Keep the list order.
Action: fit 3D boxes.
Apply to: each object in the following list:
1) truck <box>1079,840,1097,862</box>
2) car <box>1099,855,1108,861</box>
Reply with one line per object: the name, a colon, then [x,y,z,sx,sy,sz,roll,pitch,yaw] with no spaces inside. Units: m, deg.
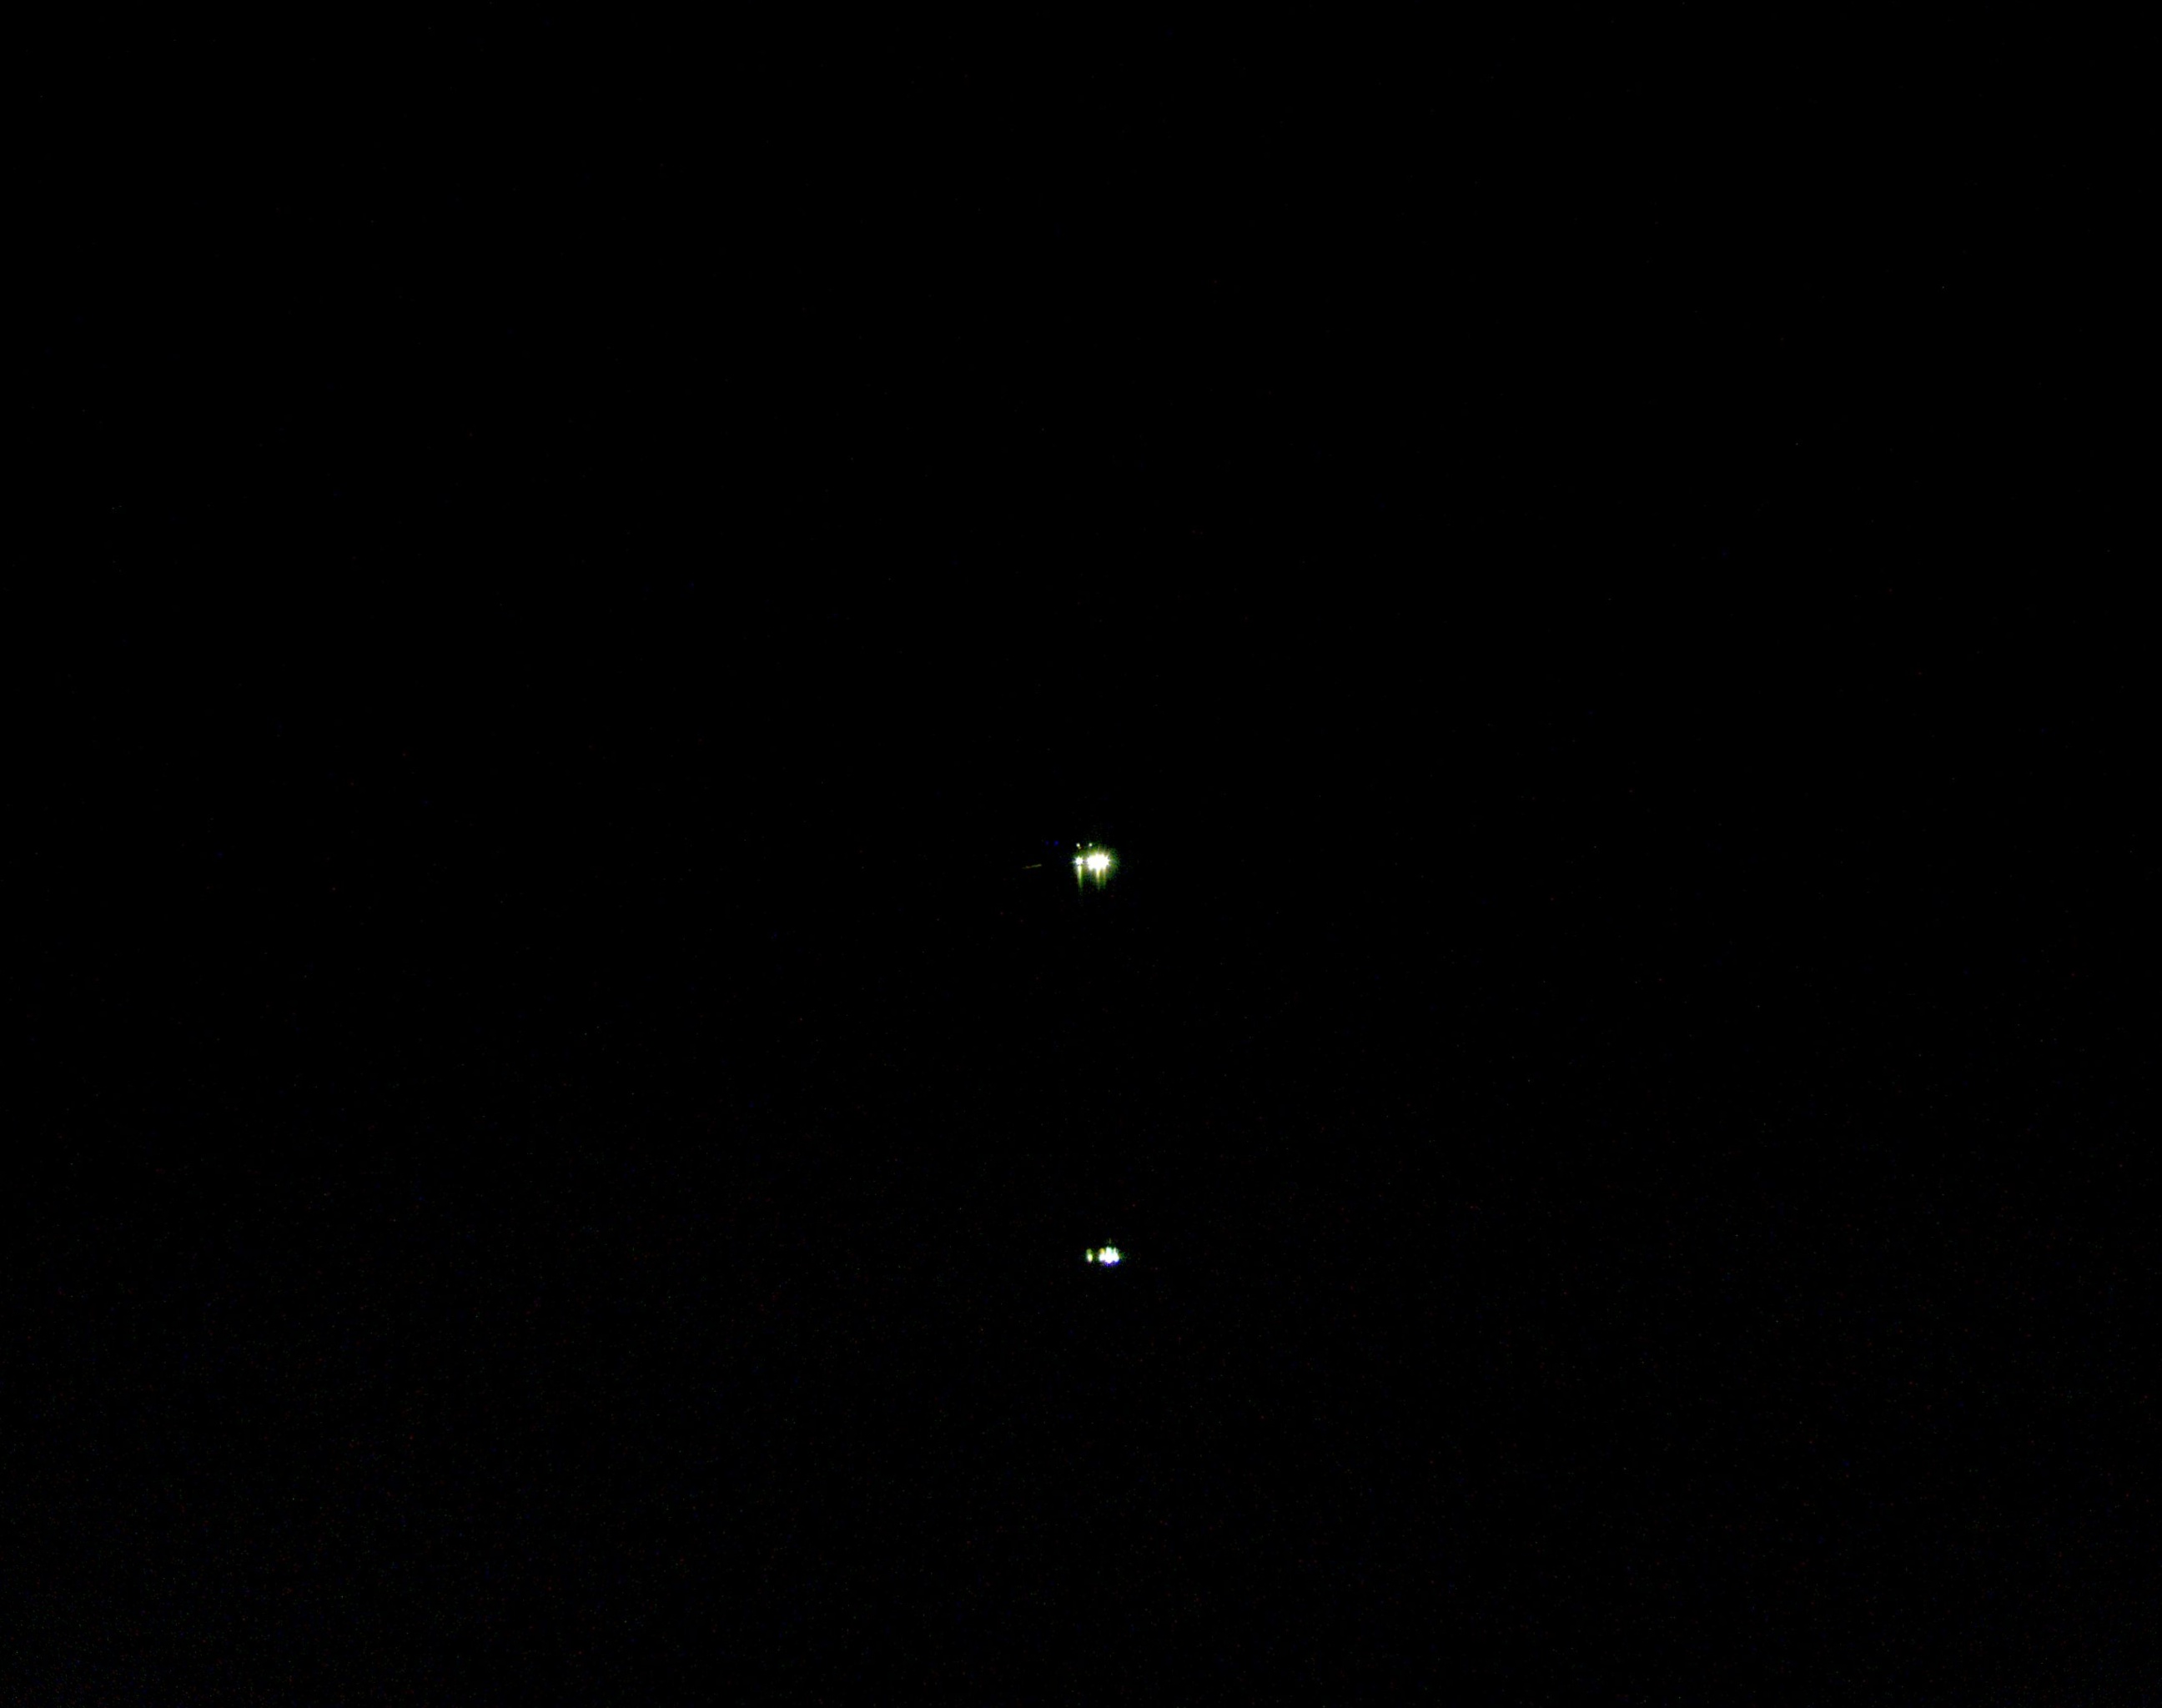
truck: [1.426,-0.538,146.130,3.003,3.876,12.889,-2,0,2]
car: [5.314,0.908,181.707,1.845,1.475,4.294,-2,0,4]
